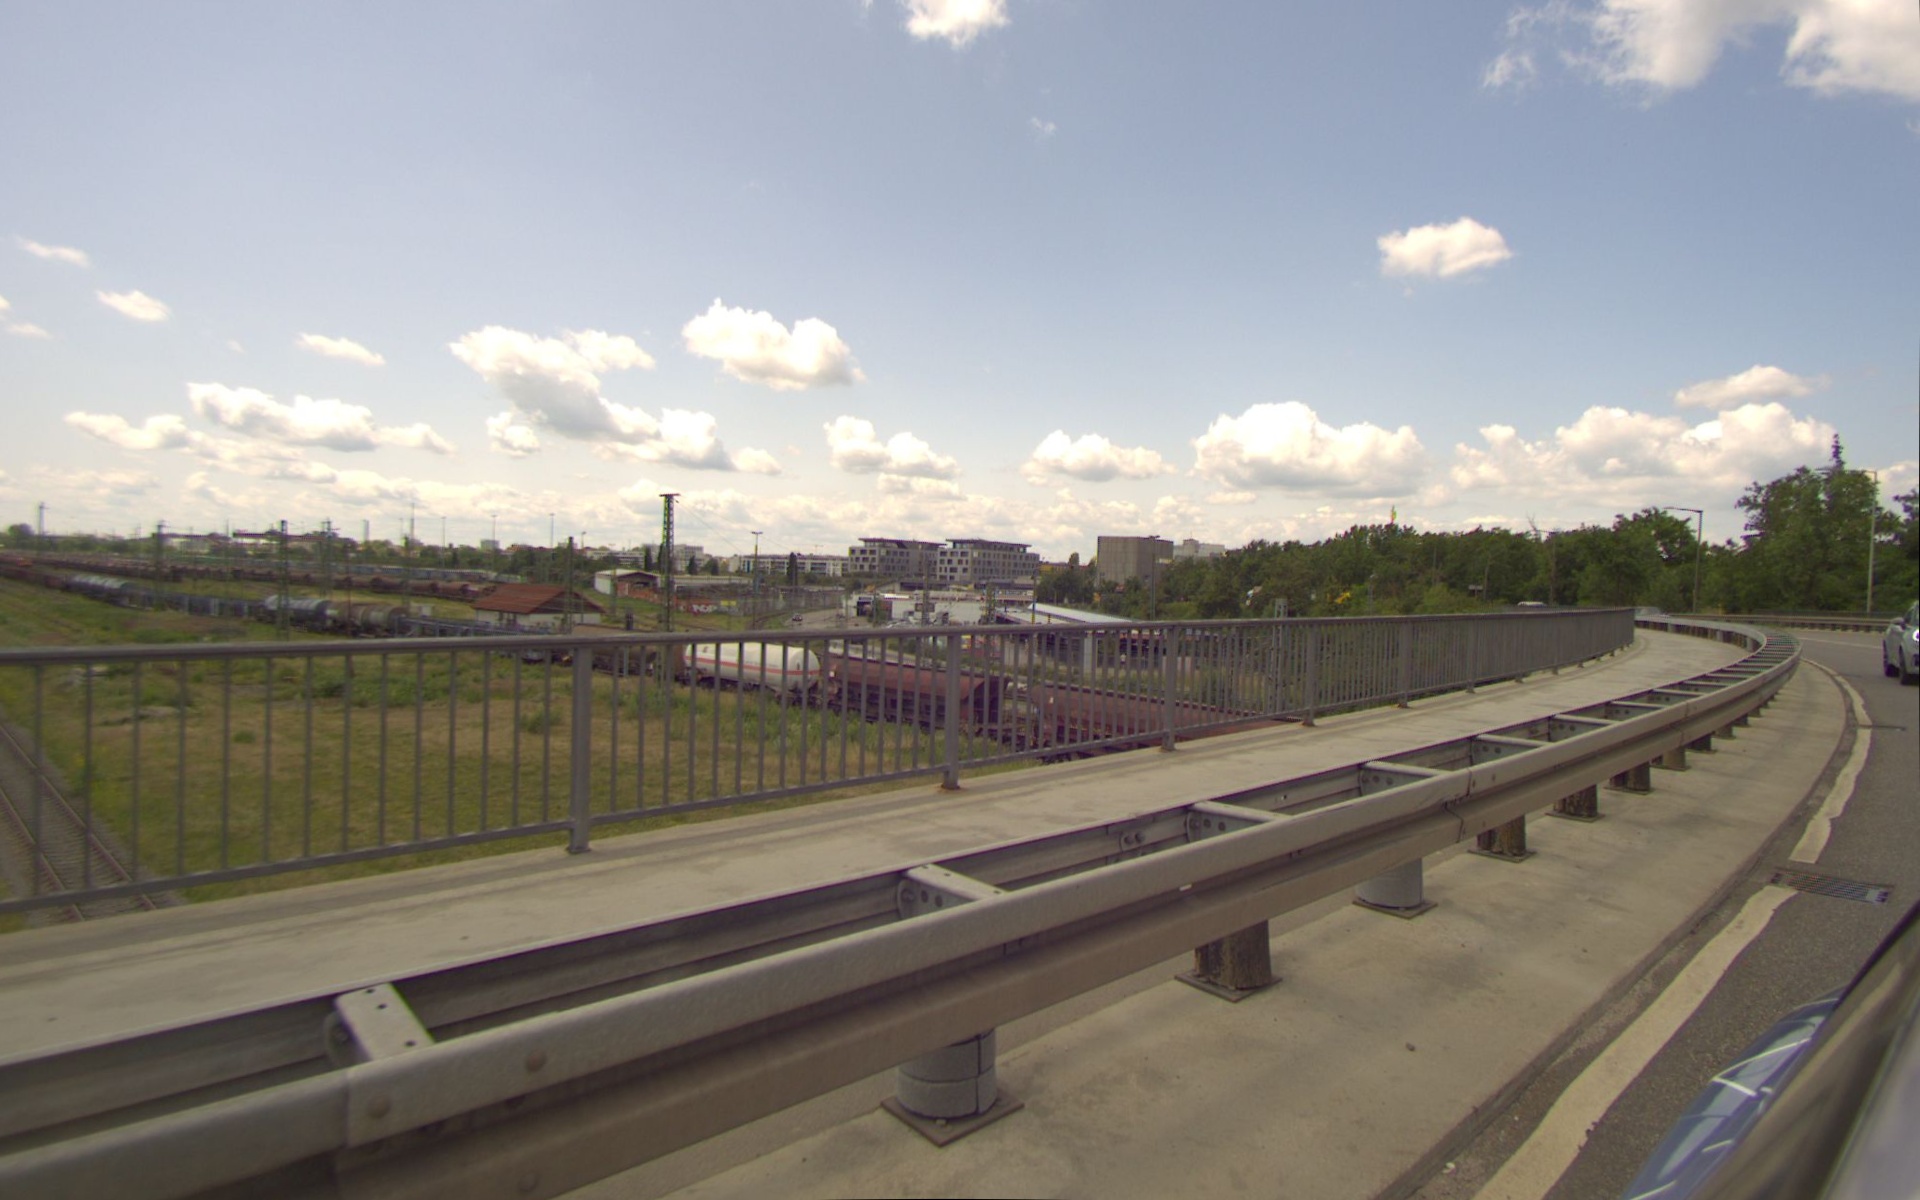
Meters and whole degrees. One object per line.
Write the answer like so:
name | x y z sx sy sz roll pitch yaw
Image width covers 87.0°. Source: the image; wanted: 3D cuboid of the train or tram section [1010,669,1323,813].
train or tram section | 9.289 6.387 49.421 3.087 4.202 16.587 -3 4 -41

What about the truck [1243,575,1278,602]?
truck | 47.336 -1.730 159.346 2.712 4.187 5.664 0 0 -15

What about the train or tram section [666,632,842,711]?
train or tram section | -15.622 5.041 74.953 16.896 4.202 3.172 3 4 41

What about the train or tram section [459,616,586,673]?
train or tram section | -42.394 4.100 97.427 17.606 4.202 3.170 2 4 38

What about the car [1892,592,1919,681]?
car | 18.664 0.625 18.646 1.819 1.544 3.945 -1 0 38

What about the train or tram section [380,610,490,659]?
train or tram section | -55.933 3.550 107.491 15.859 4.202 3.175 2 4 35

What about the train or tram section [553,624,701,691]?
train or tram section | -28.719 4.675 86.248 17.617 4.202 3.168 2 4 40

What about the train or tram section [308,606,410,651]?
train or tram section | -69.192 3.149 116.242 15.844 4.202 3.178 2 4 32

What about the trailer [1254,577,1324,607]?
trailer | 49.235 -1.131 152.088 2.658 4.334 14.260 0 0 -15

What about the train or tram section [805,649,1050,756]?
train or tram section | -2.663 5.915 62.474 3.170 4.202 18.850 -4 5 -45
